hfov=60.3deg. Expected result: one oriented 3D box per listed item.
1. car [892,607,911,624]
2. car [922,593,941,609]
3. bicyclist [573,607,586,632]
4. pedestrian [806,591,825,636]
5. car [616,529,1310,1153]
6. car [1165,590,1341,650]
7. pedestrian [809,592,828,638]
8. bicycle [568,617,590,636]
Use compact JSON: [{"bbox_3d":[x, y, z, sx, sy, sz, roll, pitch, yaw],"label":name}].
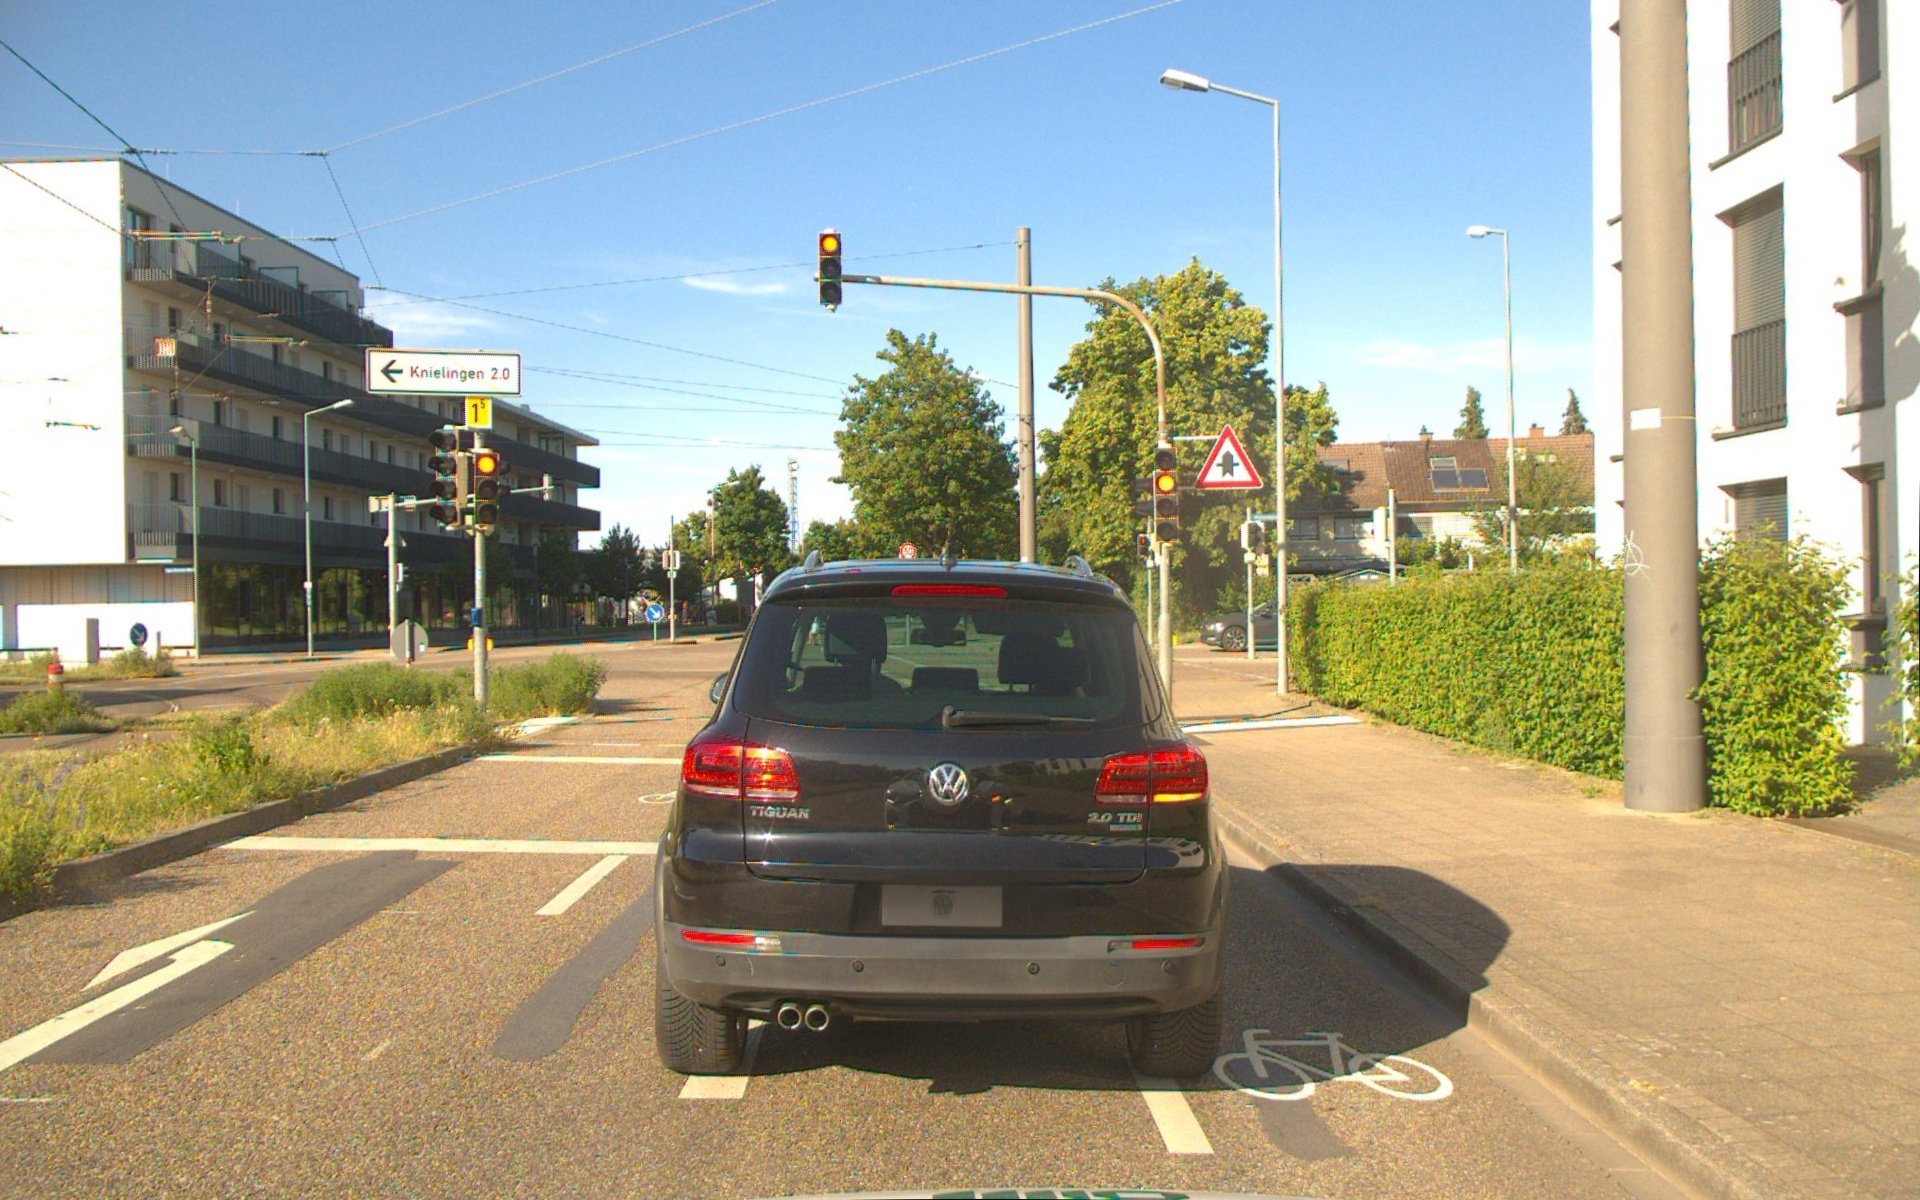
[{"bbox_3d":[-5.836,1.573,165.821,1.621,1.668,4.001,0,0,1],"label":"car"},{"bbox_3d":[-2.626,0.098,153.174,1.716,1.411,3.998,0,0,-2],"label":"car"},{"bbox_3d":[-18.727,0.961,81.439,0.464,1.245,0.713,0,0,3],"label":"bicyclist"},{"bbox_3d":[-5.149,0.478,59.058,0.590,1.592,0.529,0,0,4],"label":"pedestrian"},{"bbox_3d":[-0.054,0.646,6.472,1.867,1.671,3.998,0,0,-2],"label":"car"},{"bbox_3d":[7.733,0.515,43.962,4.403,1.530,2.001,0,0,3],"label":"car"},{"bbox_3d":[-5.118,0.540,59.729,0.590,1.668,0.529,0,0,4],"label":"pedestrian"},{"bbox_3d":[-18.742,1.296,81.458,0.485,0.863,2.079,0,0,3],"label":"bicycle"}]
